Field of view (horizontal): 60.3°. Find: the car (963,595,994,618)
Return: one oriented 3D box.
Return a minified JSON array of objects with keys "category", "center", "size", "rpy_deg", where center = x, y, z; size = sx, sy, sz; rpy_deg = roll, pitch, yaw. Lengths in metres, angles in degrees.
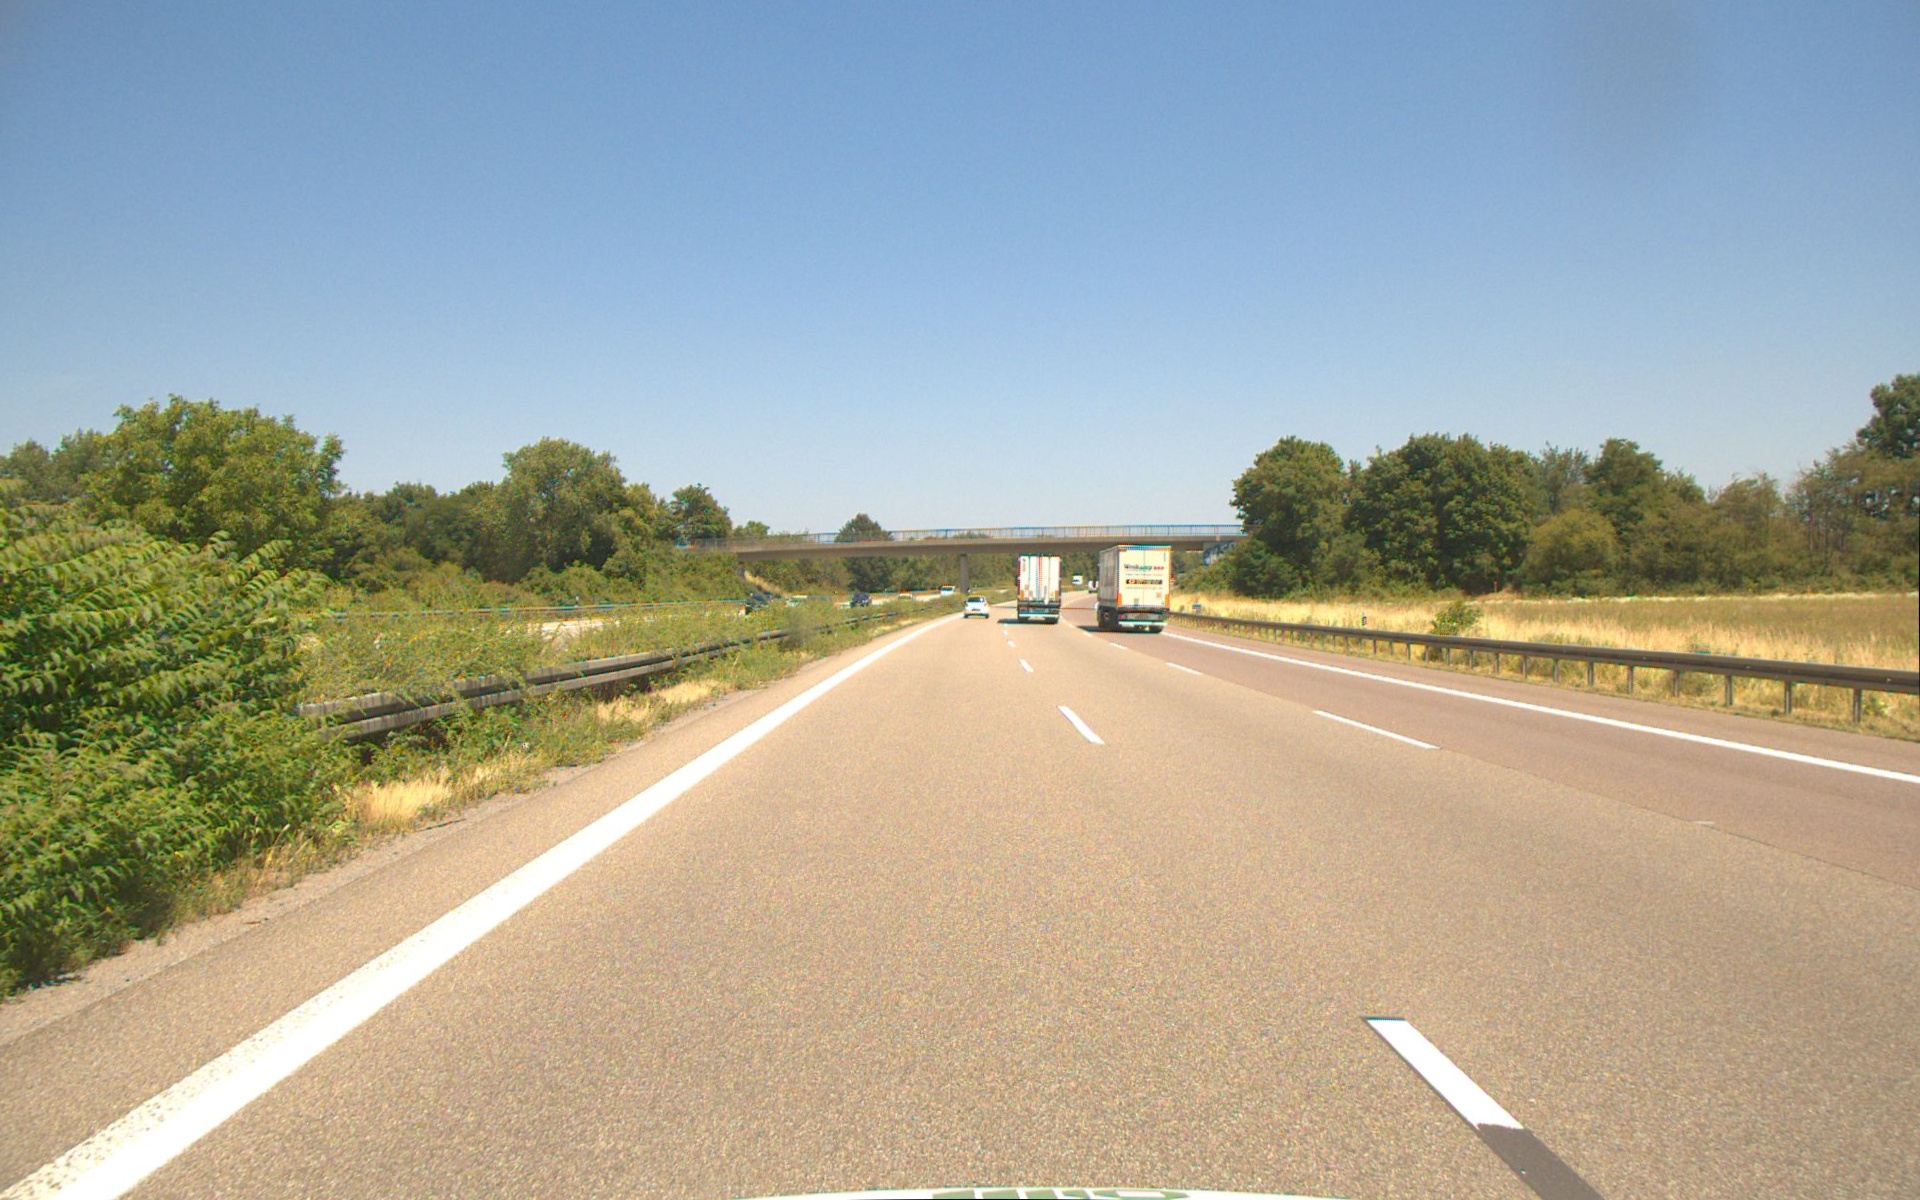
[{"category":"car","center":[1.297,0.437,114.549],"size":[1.789,1.574,4.322],"rpy_deg":[1,0,6]}]

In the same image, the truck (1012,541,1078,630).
[{"category":"truck","center":[5.172,-0.946,103.732],"size":[3.590,5.106,16.021],"rpy_deg":[1,1,1]}]

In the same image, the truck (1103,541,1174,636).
[{"category":"truck","center":[9.002,-0.636,85.055],"size":[3.114,4.379,16.027],"rpy_deg":[1,1,5]}]

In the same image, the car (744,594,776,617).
[{"category":"car","center":[-14.614,0.395,121.044],"size":[1.746,1.690,4.657],"rpy_deg":[0,0,0]}]

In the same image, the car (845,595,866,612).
[{"category":"car","center":[-9.858,0.367,155.936],"size":[1.610,1.588,4.067],"rpy_deg":[0,0,2]}]
